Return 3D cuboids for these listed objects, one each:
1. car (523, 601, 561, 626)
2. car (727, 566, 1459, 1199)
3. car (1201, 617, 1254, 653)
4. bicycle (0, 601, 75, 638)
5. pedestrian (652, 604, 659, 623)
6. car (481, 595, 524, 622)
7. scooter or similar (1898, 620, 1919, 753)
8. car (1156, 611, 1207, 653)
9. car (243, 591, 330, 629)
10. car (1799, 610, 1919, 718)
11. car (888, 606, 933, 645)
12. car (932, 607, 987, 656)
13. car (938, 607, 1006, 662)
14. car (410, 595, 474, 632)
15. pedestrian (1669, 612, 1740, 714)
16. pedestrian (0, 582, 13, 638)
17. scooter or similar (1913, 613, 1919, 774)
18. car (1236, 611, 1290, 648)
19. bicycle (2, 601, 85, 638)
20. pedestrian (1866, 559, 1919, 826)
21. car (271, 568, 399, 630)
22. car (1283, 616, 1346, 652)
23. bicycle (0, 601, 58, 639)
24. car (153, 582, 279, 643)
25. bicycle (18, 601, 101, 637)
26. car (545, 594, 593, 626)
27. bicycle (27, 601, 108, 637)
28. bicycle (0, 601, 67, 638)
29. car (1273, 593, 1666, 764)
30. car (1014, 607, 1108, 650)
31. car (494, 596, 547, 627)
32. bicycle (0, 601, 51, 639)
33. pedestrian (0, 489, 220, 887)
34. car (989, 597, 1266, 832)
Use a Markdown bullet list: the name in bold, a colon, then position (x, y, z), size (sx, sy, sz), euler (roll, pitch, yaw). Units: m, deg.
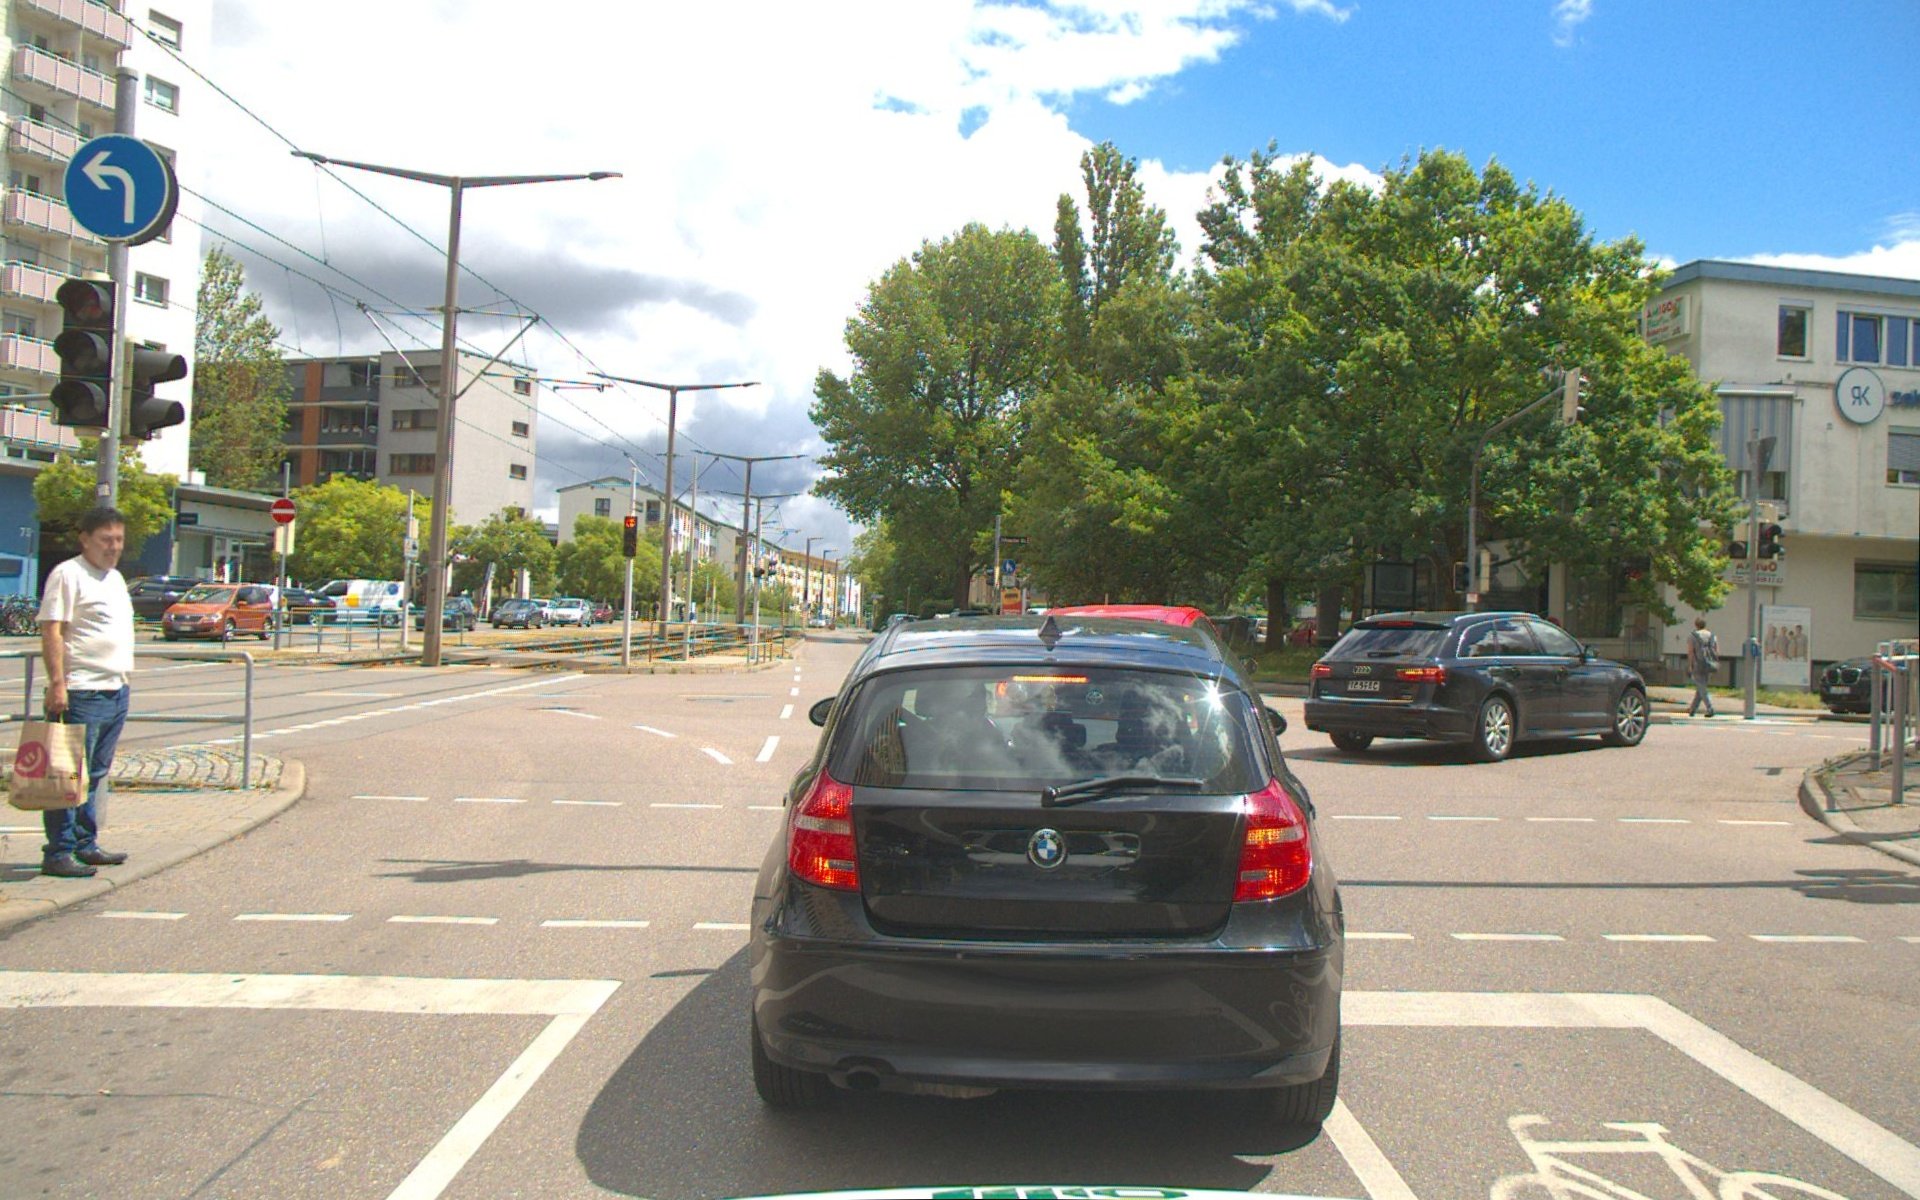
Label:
- **car**: position (-25.402, 0.794, 100.630), size (1.728, 1.419, 3.994), euler (1, 0, -7)
- **car**: position (0.299, 0.688, 5.943), size (1.717, 1.513, 3.999), euler (1, 0, -1)
- **car**: position (12.558, 1.621, 77.911), size (1.598, 1.600, 4.029), euler (1, 0, -4)
- **bicycle**: position (-24.785, 0.522, 44.210), size (1.909, 0.951, 0.494), euler (1, -1, -7)
- **pedestrian**: position (-26.654, 1.198, 144.752), size (0.444, 1.665, 0.480), euler (1, 0, -6)
- **car**: position (-25.706, 0.453, 93.046), size (1.728, 1.419, 3.994), euler (1, 0, -7)
- **scooter or similar**: position (9.207, 0.809, 14.975), size (1.338, 1.176, 0.539), euler (3, 0, -26)
- **car**: position (10.286, 1.445, 77.029), size (1.598, 1.842, 4.029), euler (1, 0, -4)
- **car**: position (-27.113, 0.400, 66.536), size (1.777, 1.445, 4.148), euler (1, 0, -45)
- **car**: position (17.169, 1.103, 28.522), size (4.472, 1.747, 1.997), euler (1, 0, -8)
- **car**: position (-2.265, 1.178, 76.933), size (1.953, 1.713, 3.999), euler (1, 0, -1)
- **car**: position (-0.025, 1.180, 61.680), size (1.953, 1.713, 3.999), euler (1, -1, -1)
- **car**: position (0.364, 1.126, 54.238), size (2.108, 1.713, 3.999), euler (1, -1, -1)
- **car**: position (-21.726, 0.525, 69.503), size (1.597, 1.438, 4.251), euler (1, 1, -4)
- **pedestrian**: position (12.700, 1.063, 28.242), size (0.753, 1.672, 0.907), euler (2, 0, -1)
- **pedestrian**: position (-29.558, 0.302, 50.382), size (1.080, 1.688, 0.942), euler (0, -1, 42)
- **scooter or similar**: position (8.399, 0.773, 13.156), size (1.315, 1.299, 0.462), euler (1, 1, 6)
- **car**: position (14.454, 1.395, 79.168), size (1.598, 1.623, 3.997), euler (1, 0, -4)
- **bicycle**: position (-24.796, 0.524, 44.756), size (1.909, 0.951, 0.494), euler (1, -1, -7)
- **pedestrian**: position (6.594, 0.590, 10.867), size (0.932, 1.703, 0.871), euler (0, 0, 14)
- **car**: position (-27.102, -0.074, 71.579), size (2.810, 2.522, 6.614), euler (1, 0, -44)
- **car**: position (17.057, 1.605, 79.641), size (1.698, 1.623, 3.993), euler (1, 0, -8)
- **bicycle**: position (-24.695, 0.519, 43.230), size (1.909, 0.951, 0.494), euler (1, -1, -7)
- **car**: position (-21.304, 0.323, 47.558), size (1.955, 1.663, 4.455), euler (0, 0, -5)
- **bicycle**: position (-24.692, 0.529, 45.371), size (1.909, 0.951, 0.494), euler (1, -1, -7)
- **car**: position (-22.265, 0.561, 94.301), size (1.898, 1.722, 3.872), euler (1, 0, -1)
- **bicycle**: position (-24.729, 0.530, 45.861), size (1.909, 0.951, 0.494), euler (1, -1, -7)
- **bicycle**: position (-24.741, 0.521, 43.735), size (1.909, 0.951, 0.494), euler (1, -1, -7)
- **car**: position (5.504, 0.759, 17.590), size (4.481, 1.581, 1.970), euler (1, -1, -41)
- **car**: position (4.627, 1.297, 75.807), size (3.933, 1.855, 1.766), euler (1, 0, -23)
- **car**: position (-21.547, 0.580, 81.217), size (1.602, 1.424, 4.491), euler (2, -1, -3)
- **bicycle**: position (-24.621, 0.519, 42.726), size (1.909, 0.951, 0.494), euler (1, -1, -7)
- **pedestrian**: position (-4.214, 0.410, 8.076), size (0.851, 1.839, 0.741), euler (1, 0, -5)
- **car**: position (1.358, 0.735, 12.296), size (1.509, 1.466, 3.198), euler (1, 0, 15)
